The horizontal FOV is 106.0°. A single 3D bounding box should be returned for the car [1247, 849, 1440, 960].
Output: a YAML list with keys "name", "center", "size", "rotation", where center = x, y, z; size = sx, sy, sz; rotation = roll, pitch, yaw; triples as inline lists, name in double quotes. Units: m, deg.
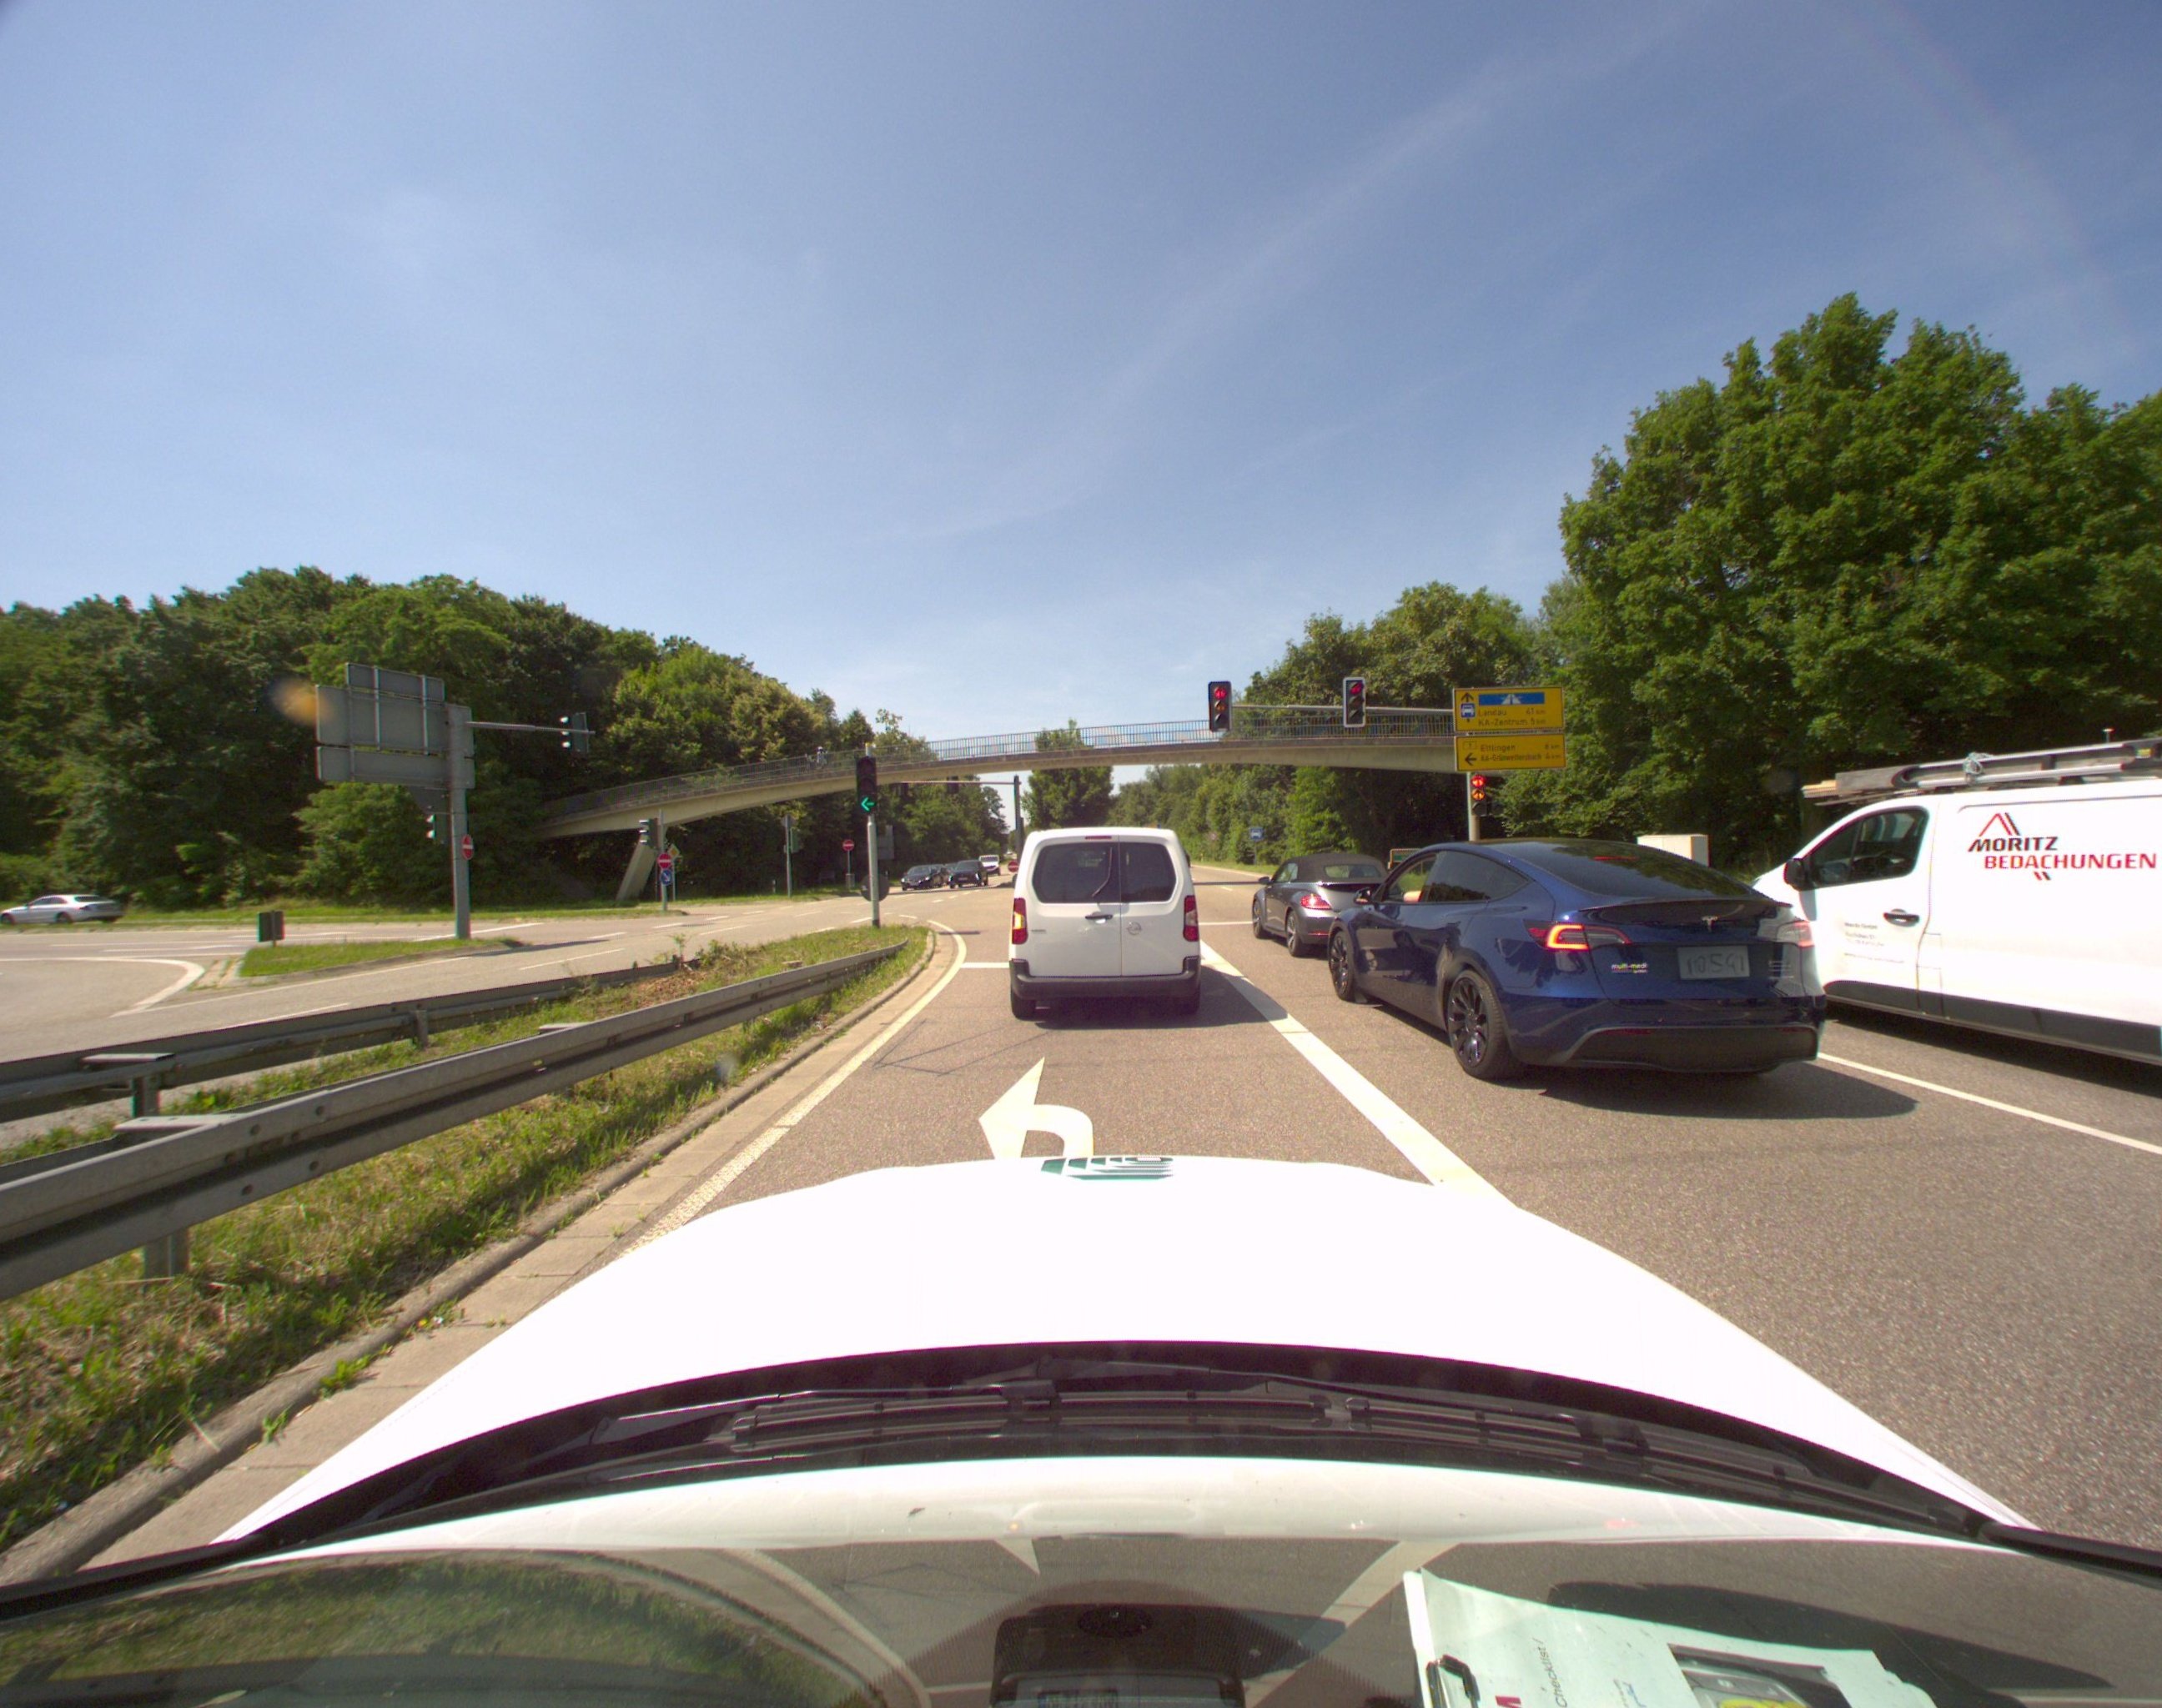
- name: "car"
  center: [3.943, 0.671, 12.941]
  size: [1.893, 1.478, 3.940]
  rotation: [-1, 0, 2]

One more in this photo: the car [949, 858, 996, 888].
- name: "car"
  center: [-6.156, 1.052, 46.723]
  size: [1.986, 1.523, 4.029]
  rotation: [-2, 0, 2]

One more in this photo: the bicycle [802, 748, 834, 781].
- name: "bicycle"
  center: [-13.665, -4.646, 42.325]
  size: [1.514, 1.474, 0.472]
  rotation: [-4, -2, 17]

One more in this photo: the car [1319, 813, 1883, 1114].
- name: "car"
  center: [3.517, 0.600, 6.744]
  size: [1.893, 1.644, 4.522]
  rotation: [-1, 0, 2]

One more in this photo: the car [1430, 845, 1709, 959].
- name: "car"
  center: [7.373, 0.630, 12.917]
  size: [1.893, 1.478, 4.382]
  rotation: [-1, 0, 2]

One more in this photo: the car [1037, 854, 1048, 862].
- name: "car"
  center: [-8.594, 0.811, 181.904]
  size: [2.001, 1.601, 4.056]
  rotation: [-4, 0, 1]

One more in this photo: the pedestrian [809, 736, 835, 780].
- name: "pedestrian"
  center: [-13.524, -4.996, 42.521]
  size: [0.776, 2.139, 0.936]
  rotation: [-4, -2, 17]

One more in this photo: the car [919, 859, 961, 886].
- name: "car"
  center: [-9.703, 1.220, 56.269]
  size: [1.986, 1.665, 4.002]
  rotation: [-3, 0, 2]

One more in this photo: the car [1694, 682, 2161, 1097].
- name: "car"
  center: [7.094, 0.194, 5.663]
  size: [1.925, 2.349, 5.076]
  rotation: [-1, 0, 1]

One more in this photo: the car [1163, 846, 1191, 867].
- name: "car"
  center: [8.465, 0.197, 71.855]
  size: [2.034, 1.699, 5.090]
  rotation: [-2, 0, 3]

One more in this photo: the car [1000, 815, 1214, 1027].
- name: "car"
  center: [0.257, 0.559, 9.064]
  size: [1.843, 1.825, 3.982]
  rotation: [-1, 1, 1]

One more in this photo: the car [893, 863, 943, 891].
- name: "car"
  center: [-9.778, 1.355, 49.164]
  size: [2.001, 1.460, 4.056]
  rotation: [-4, 0, 1]

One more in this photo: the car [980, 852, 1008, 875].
- name: "car"
  center: [-8.071, 0.871, 76.206]
  size: [2.204, 1.993, 5.481]
  rotation: [-3, 0, -3]

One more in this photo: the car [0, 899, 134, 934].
- name: "car"
  center: [-48.296, 2.964, 38.706]
  size: [4.739, 1.373, 2.005]
  rotation: [-3, 0, 8]
